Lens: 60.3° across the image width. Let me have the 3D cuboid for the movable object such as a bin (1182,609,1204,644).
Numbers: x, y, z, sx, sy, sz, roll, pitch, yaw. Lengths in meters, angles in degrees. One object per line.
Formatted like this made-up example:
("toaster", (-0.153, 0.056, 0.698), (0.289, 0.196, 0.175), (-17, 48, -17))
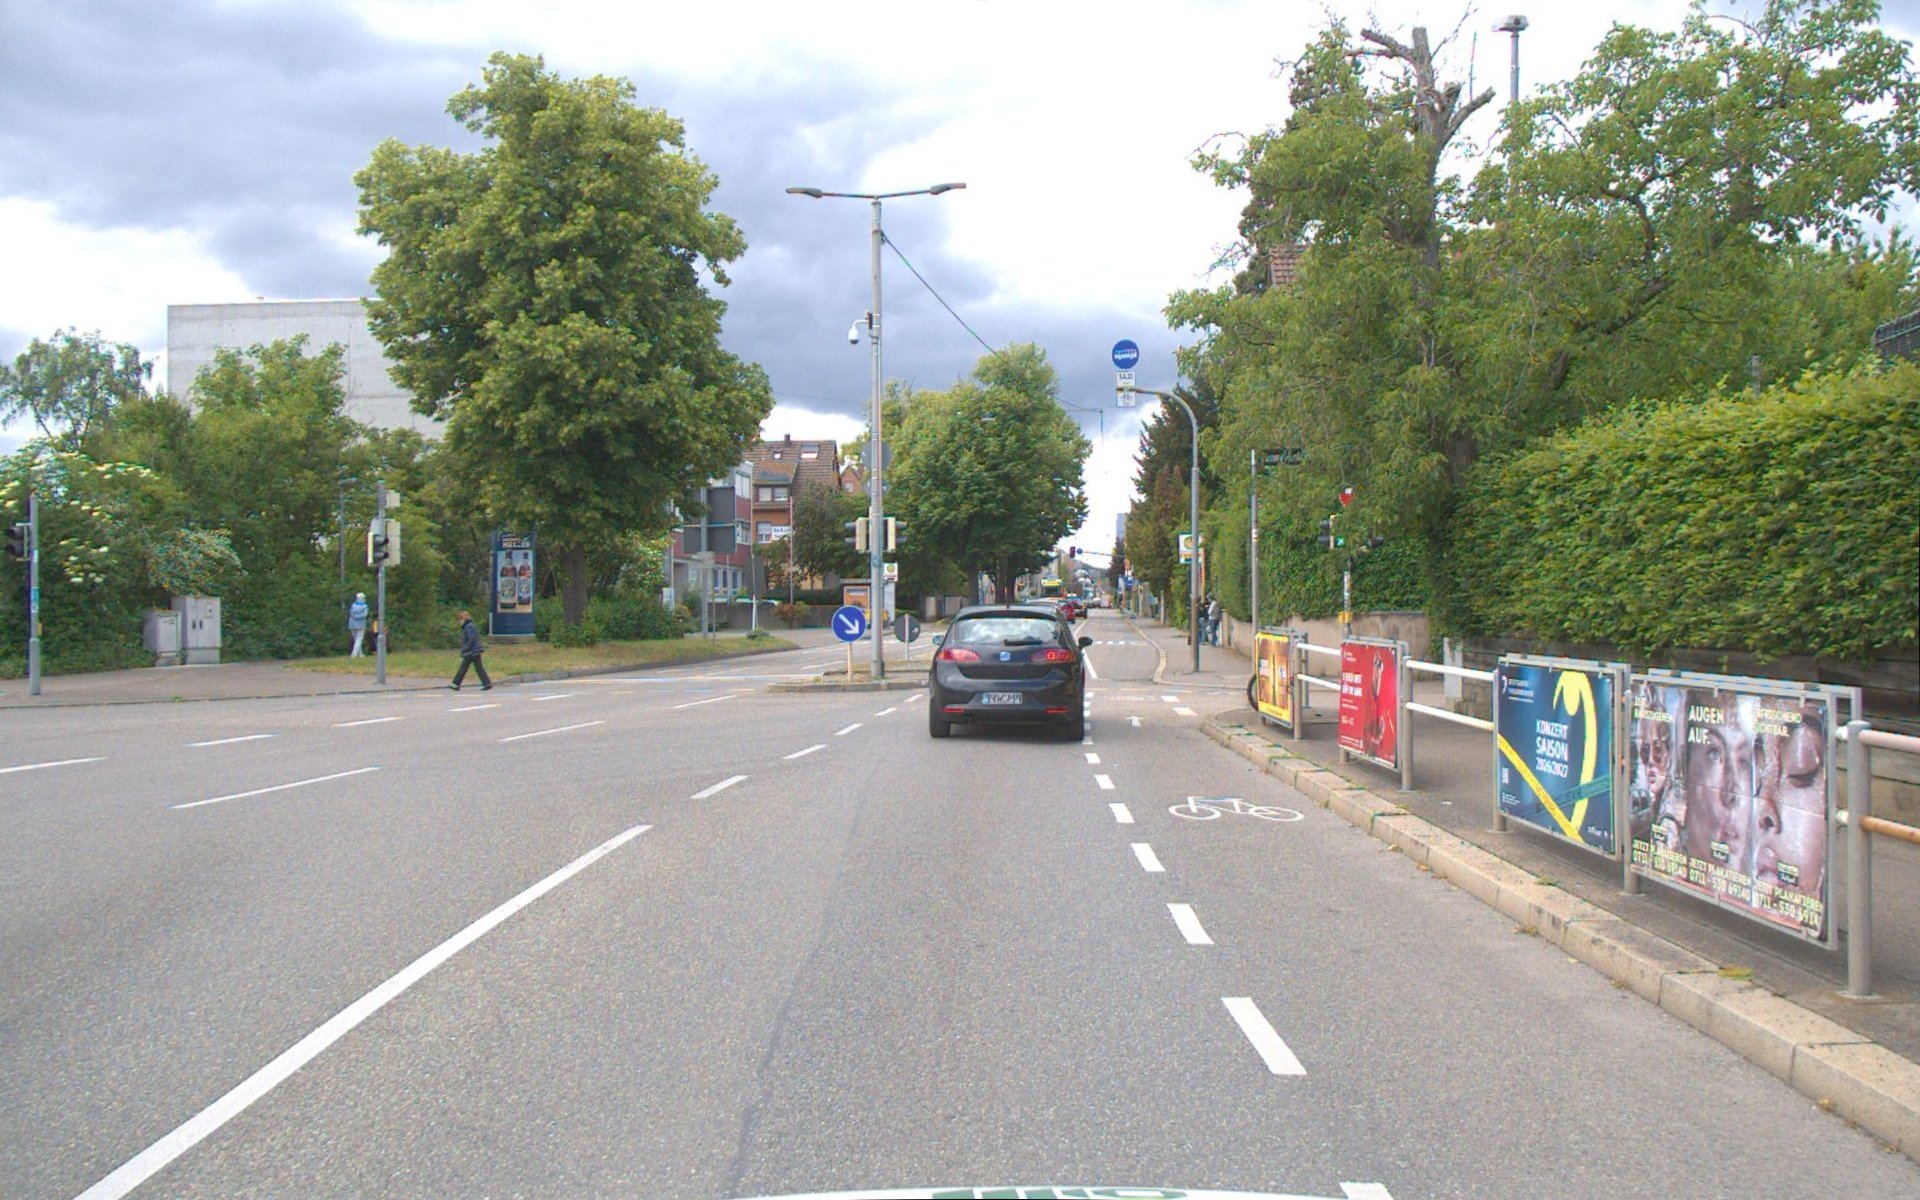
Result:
("movable object such as a bin", (7.421, 0.844, 52.604), (0.432, 1.076, 0.567), (-4, 0, 30))

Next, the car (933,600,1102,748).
("car", (0.636, 0.769, 19.022), (1.723, 1.474, 3.715), (1, 0, 1))

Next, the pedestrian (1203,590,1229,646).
("pedestrian", (7.525, 0.530, 48.601), (0.533, 1.582, 0.471), (-4, 0, -4))

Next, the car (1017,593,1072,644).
("car", (3.172, 0.658, 61.472), (1.780, 1.729, 4.256), (-1, 0, 6))

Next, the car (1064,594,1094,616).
("car", (9.463, 0.381, 130.941), (1.951, 1.713, 4.003), (-1, 0, 10))

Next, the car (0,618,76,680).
("car", (-33.366, 1.702, 57.997), (1.951, 2.049, 4.003), (2, 0, 13))

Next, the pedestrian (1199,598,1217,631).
("pedestrian", (7.762, 0.447, 51.830), (0.445, 0.981, 0.383), (-4, 0, -2))

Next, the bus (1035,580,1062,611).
("bus", (9.602, -0.508, 178.601), (2.808, 3.191, 6.400), (-1, 0, 4))

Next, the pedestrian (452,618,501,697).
("pedestrian", (-9.039, 1.063, 30.960), (0.759, 1.432, 0.599), (-2, -1, -9))

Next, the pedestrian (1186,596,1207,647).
("pedestrian", (7.388, 0.660, 51.684), (0.538, 1.543, 0.362), (-3, 1, 13))

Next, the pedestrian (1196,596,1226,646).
("pedestrian", (7.596, 0.648, 50.052), (0.610, 1.452, 0.510), (-4, 0, 43))

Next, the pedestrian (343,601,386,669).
("pedestrian", (-13.891, 0.800, 38.600), (0.642, 1.549, 0.924), (-1, 0, 2))

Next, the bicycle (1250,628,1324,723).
("bicycle", (3.828, 0.863, 19.454), (0.615, 1.046, 1.504), (0, 0, 2))

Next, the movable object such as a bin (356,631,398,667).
("movable object such as a bin", (-13.865, 1.165, 39.360), (0.642, 0.812, 0.897), (-1, 0, 2))

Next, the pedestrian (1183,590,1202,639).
("pedestrian", (8.402, 0.509, 59.808), (0.573, 1.741, 0.530), (-2, 0, 3))

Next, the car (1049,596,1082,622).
("car", (6.619, 0.546, 103.939), (1.901, 1.507, 4.254), (-1, 0, 2))
